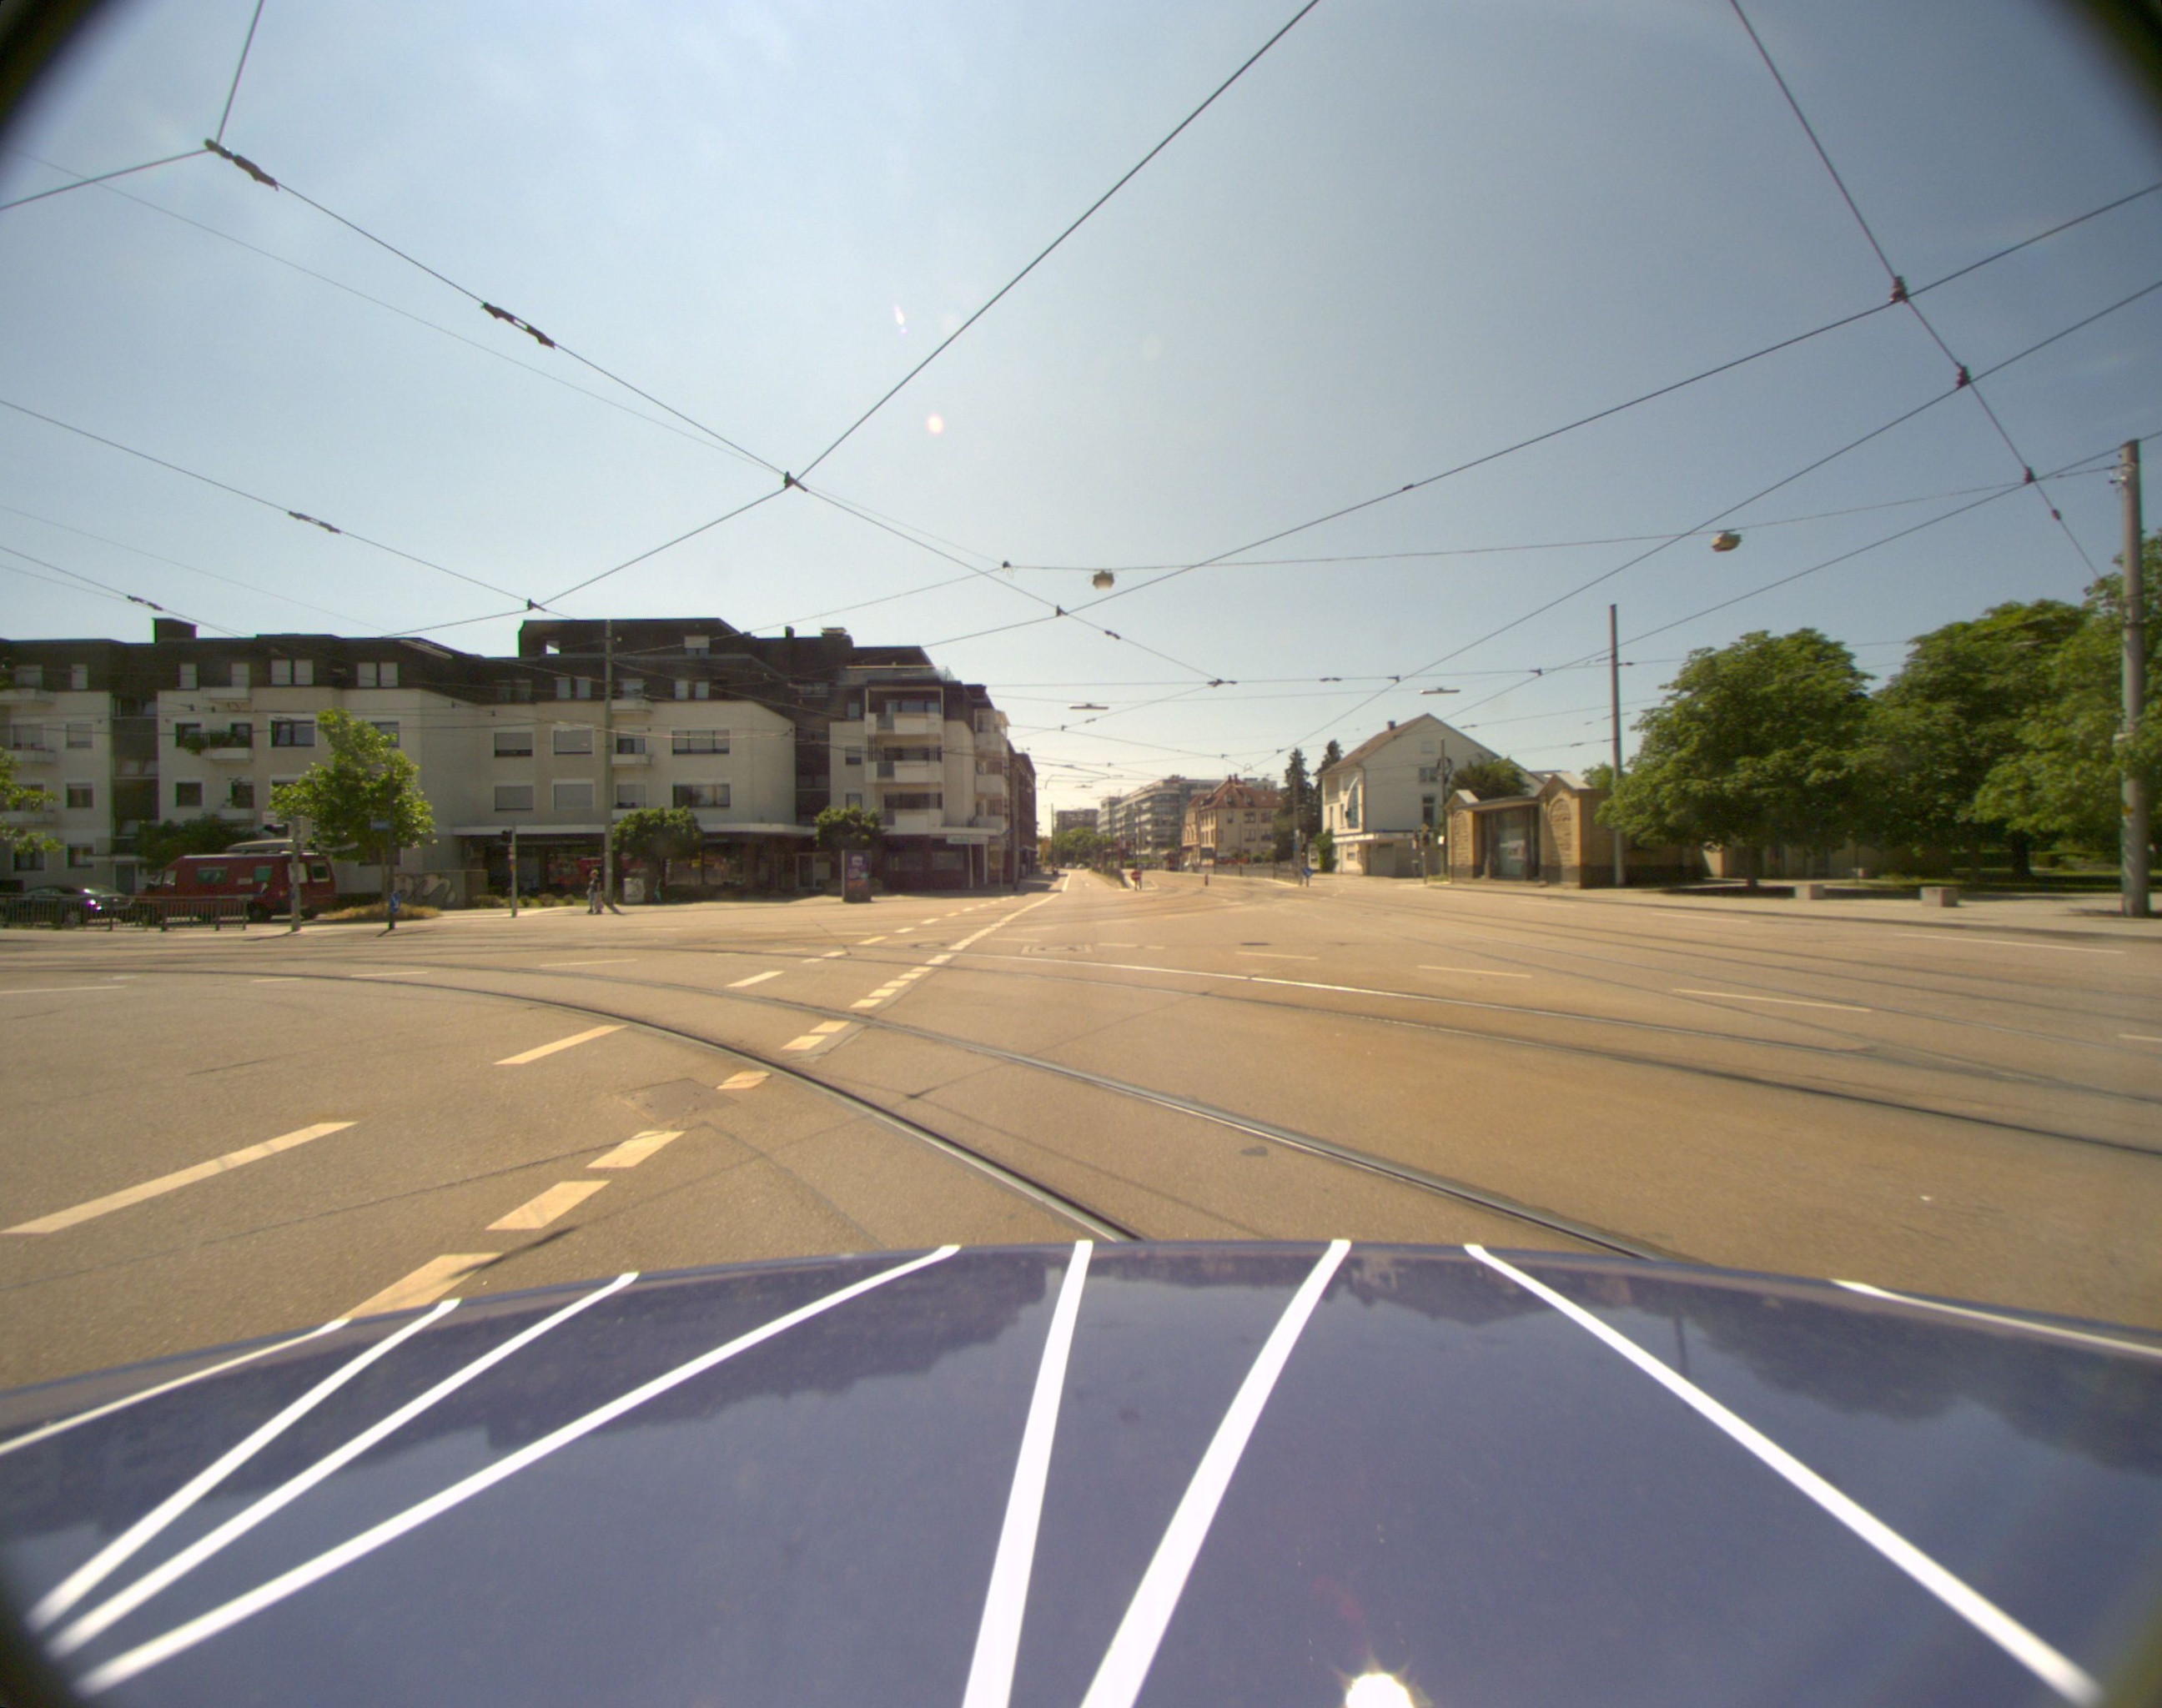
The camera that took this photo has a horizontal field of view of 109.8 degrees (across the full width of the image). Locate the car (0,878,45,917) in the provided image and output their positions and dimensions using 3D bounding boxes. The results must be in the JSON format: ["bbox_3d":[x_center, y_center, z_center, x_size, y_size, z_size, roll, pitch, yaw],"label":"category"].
[{"bbox_3d":[-46.157,1.837,31.646,3.650,1.600,1.653,-1,0,-1],"label":"car"}]

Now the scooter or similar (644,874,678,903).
[{"bbox_3d":[-18.166,1.484,32.907,1.257,1.205,0.393,-1,0,-26],"label":"scooter or similar"}]

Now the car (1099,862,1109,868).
[{"bbox_3d":[5.834,2.807,194.154,1.824,1.387,4.172,-1,-1,-10],"label":"car"}]

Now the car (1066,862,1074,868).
[{"bbox_3d":[-3.496,3.428,242.526,1.862,1.806,4.695,-1,-1,-9],"label":"car"}]

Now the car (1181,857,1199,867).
[{"bbox_3d":[15.965,1.185,111.557,1.823,1.481,4.498,-1,0,-2],"label":"car"}]

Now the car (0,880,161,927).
[{"bbox_3d":[-36.342,1.769,27.557,3.804,1.538,1.679,-1,0,-1],"label":"car"}]

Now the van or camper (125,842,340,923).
[{"bbox_3d":[-30.672,1.013,27.624,5.237,2.749,2.208,-1,-1,-1],"label":"van or camper"}]

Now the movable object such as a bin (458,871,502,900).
[{"bbox_3d":[-29.873,1.560,37.785,1.321,1.398,1.063,-1,0,-1],"label":"movable object such as a bin"}]

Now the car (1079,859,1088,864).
[{"bbox_3d":[0.662,2.222,219.707,1.824,1.459,4.620,-1,0,-8],"label":"car"}]

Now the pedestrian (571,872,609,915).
[{"bbox_3d":[-18.494,1.490,28.630,0.828,1.574,0.827,-1,0,9],"label":"pedestrian"}]
